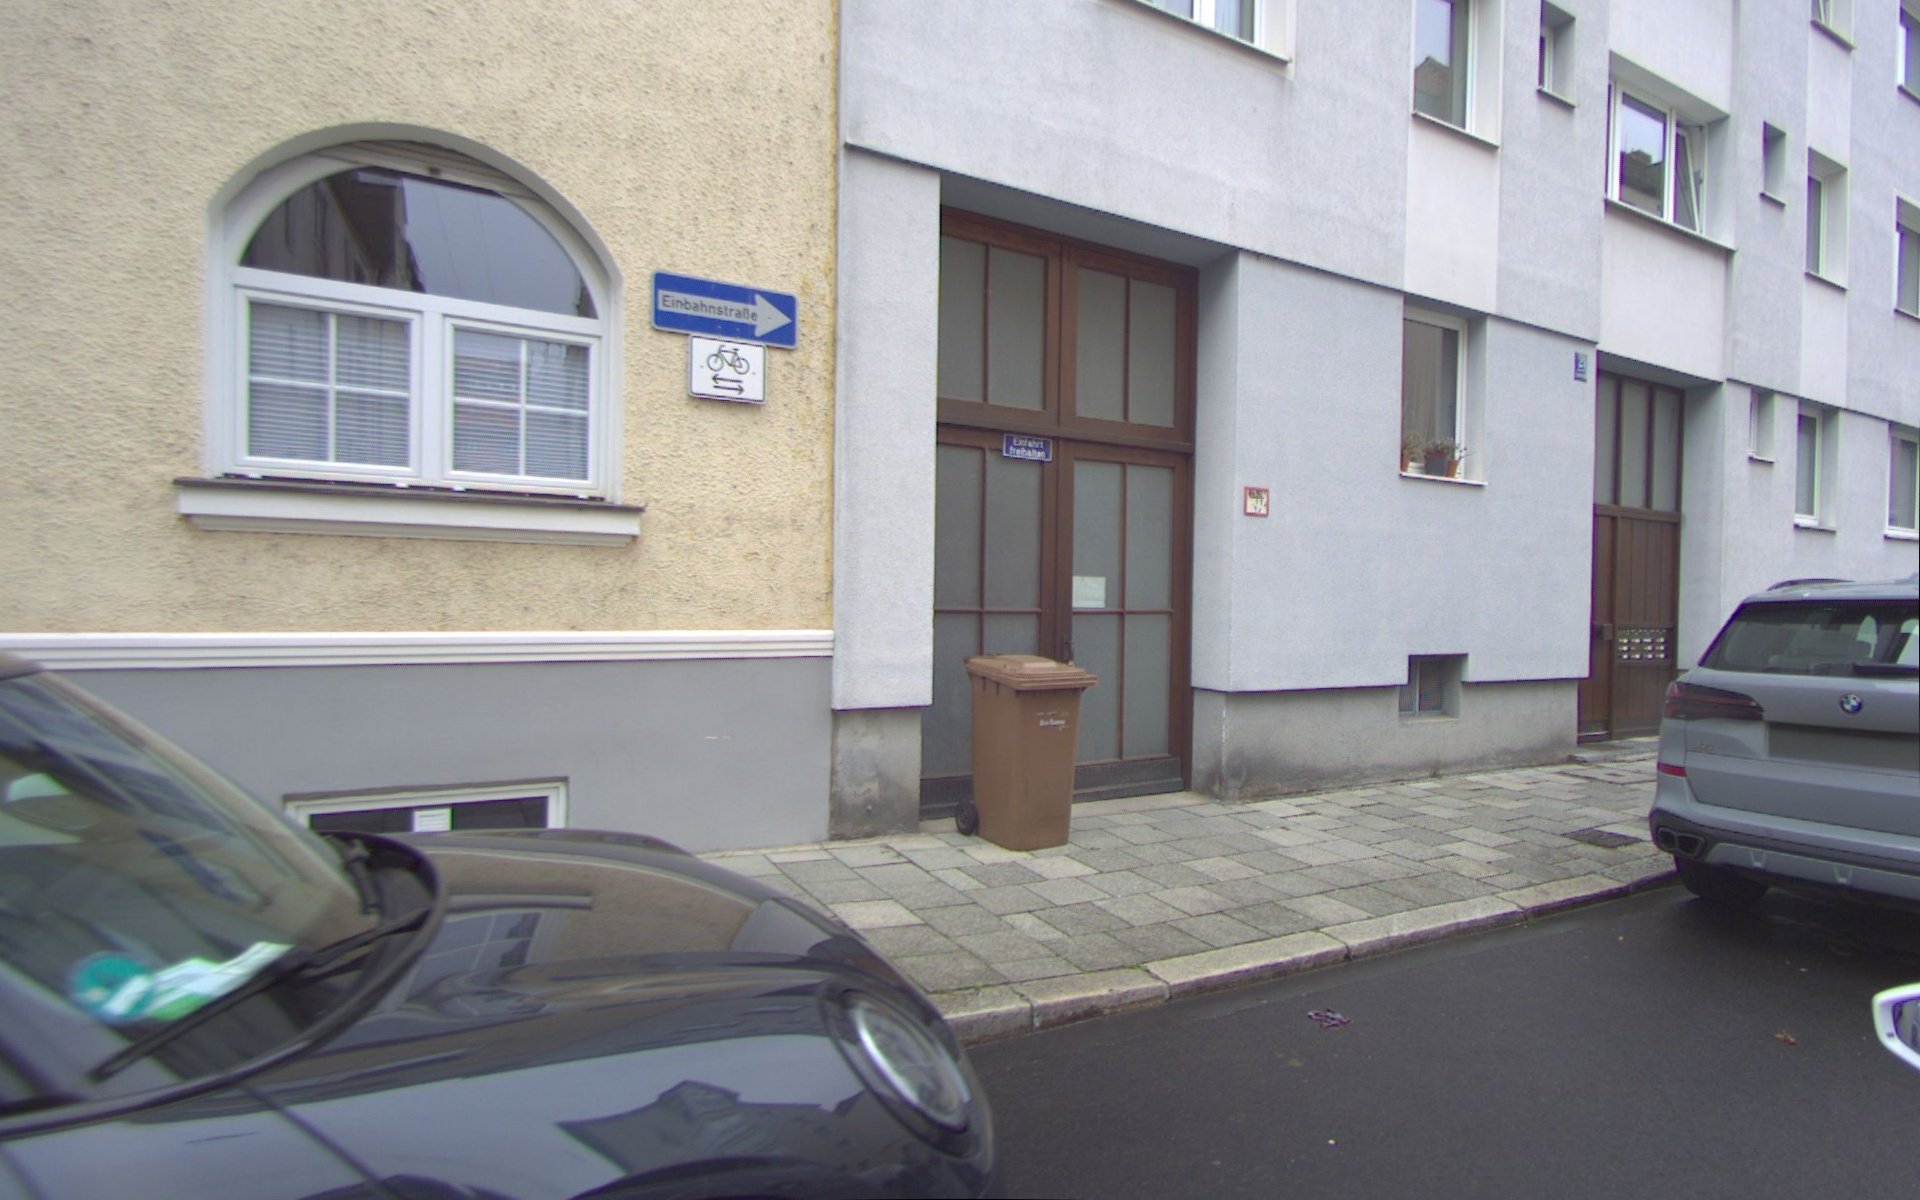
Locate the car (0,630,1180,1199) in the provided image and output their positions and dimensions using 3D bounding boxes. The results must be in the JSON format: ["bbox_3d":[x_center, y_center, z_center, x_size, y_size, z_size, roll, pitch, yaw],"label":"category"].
[{"bbox_3d":[-1.671,0.754,1.285,3.691,1.430,1.644,2,-2,-30],"label":"car"}]

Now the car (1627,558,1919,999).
[{"bbox_3d":[5.813,0.787,5.464,4.682,1.793,1.853,2,-2,-31],"label":"car"}]

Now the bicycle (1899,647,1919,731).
[{"bbox_3d":[12.794,1.154,13.067,1.552,1.044,0.393,2,1,-30],"label":"bicycle"}]

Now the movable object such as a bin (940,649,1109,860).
[{"bbox_3d":[0.365,0.873,5.983,0.615,1.065,0.803,1,4,-30],"label":"movable object such as a bin"}]
